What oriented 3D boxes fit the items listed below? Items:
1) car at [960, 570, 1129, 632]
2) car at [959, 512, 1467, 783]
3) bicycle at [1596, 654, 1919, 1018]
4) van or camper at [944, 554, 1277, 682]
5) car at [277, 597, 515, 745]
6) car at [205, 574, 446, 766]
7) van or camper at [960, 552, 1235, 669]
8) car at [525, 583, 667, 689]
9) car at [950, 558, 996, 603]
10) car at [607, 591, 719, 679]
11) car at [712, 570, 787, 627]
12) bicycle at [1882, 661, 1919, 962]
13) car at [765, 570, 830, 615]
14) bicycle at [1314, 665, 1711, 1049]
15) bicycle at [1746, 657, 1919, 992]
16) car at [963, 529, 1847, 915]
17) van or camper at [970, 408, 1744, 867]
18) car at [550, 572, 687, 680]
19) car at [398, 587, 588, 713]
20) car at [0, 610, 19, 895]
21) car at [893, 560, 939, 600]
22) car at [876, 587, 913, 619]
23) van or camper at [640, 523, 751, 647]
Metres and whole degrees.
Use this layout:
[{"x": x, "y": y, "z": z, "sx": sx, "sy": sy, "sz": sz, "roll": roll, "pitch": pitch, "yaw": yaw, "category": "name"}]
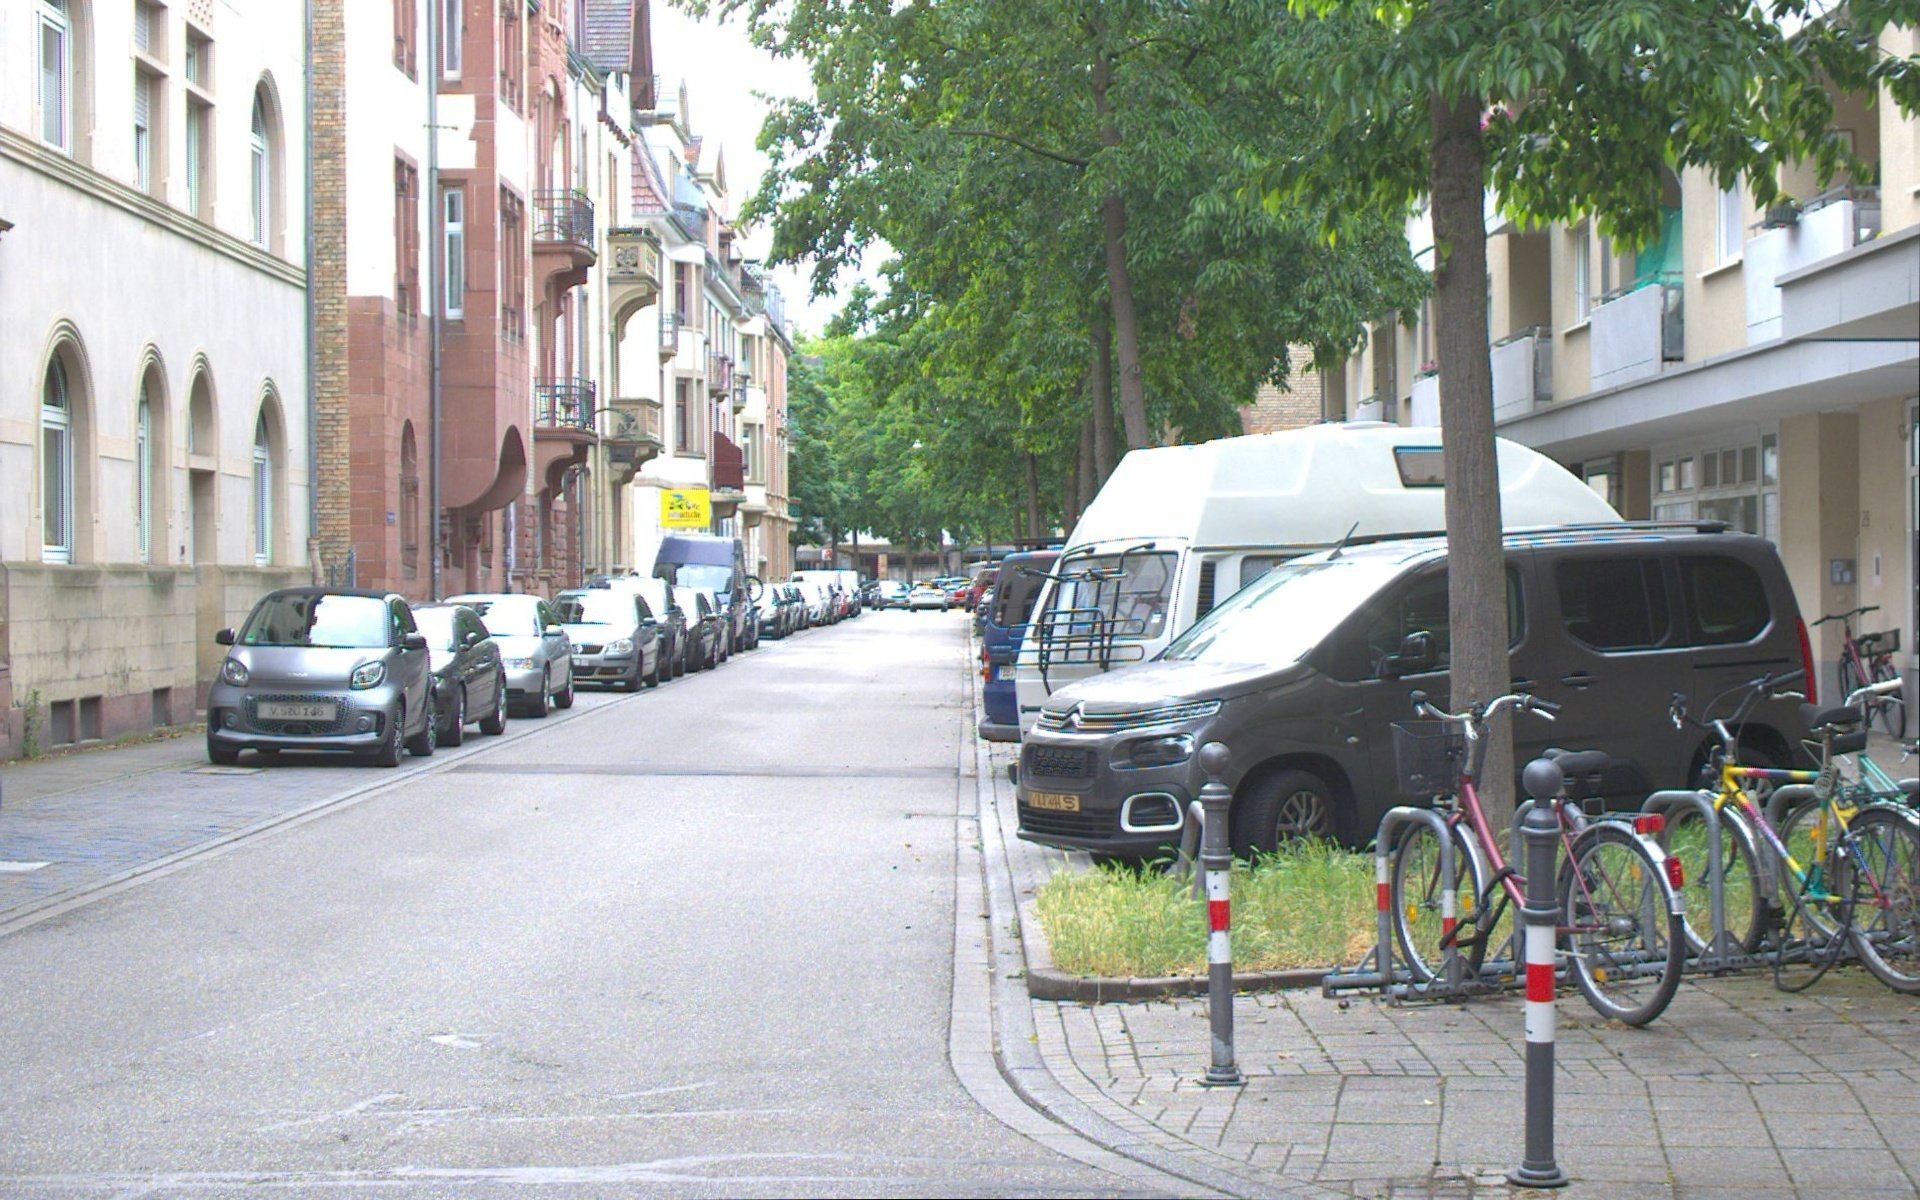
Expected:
[{"x": 2.210, "y": 0.007, "z": 89.566, "sx": 4.010, "sy": 1.554, "sz": 1.885, "roll": -1, "pitch": 1, "yaw": -30, "category": "car"}, {"x": 2.271, "y": 0.352, "z": 29.998, "sx": 2.066, "sy": 2.189, "sz": 4.387, "roll": 0, "pitch": 1, "yaw": 44, "category": "car"}, {"x": 3.011, "y": 0.809, "z": 12.469, "sx": 0.548, "sy": 1.169, "sz": 1.729, "roll": -1, "pitch": 1, "yaw": -21, "category": "bicycle"}, {"x": 2.484, "y": 0.286, "z": 56.419, "sx": 5.005, "sy": 1.863, "sz": 2.127, "roll": -2, "pitch": 0, "yaw": -27, "category": "van or camper"}, {"x": -5.651, "y": 0.696, "z": 34.860, "sx": 1.726, "sy": 1.382, "sz": 3.929, "roll": 1, "pitch": 0, "yaw": 0, "category": "car"}, {"x": -5.677, "y": 0.590, "z": 31.028, "sx": 1.646, "sy": 1.565, "sz": 2.957, "roll": 1, "pitch": 2, "yaw": -1, "category": "car"}, {"x": 2.606, "y": 0.193, "z": 65.200, "sx": 4.729, "sy": 1.987, "sz": 2.000, "roll": -2, "pitch": -1, "yaw": -25, "category": "van or camper"}, {"x": -5.308, "y": 0.499, "z": 50.510, "sx": 1.662, "sy": 1.416, "sz": 3.929, "roll": 1, "pitch": 1, "yaw": 0, "category": "car"}, {"x": 0.596, "y": -0.907, "z": 160.039, "sx": 1.993, "sy": 2.007, "sz": 4.000, "roll": 2, "pitch": 1, "yaw": 0, "category": "car"}, {"x": -5.300, "y": 0.597, "z": 61.747, "sx": 1.634, "sy": 1.468, "sz": 4.000, "roll": 1, "pitch": 1, "yaw": 0, "category": "car"}, {"x": -5.672, "y": -0.059, "z": 92.979, "sx": 1.789, "sy": 1.475, "sz": 4.022, "roll": 1, "pitch": 0, "yaw": 0, "category": "car"}, {"x": 4.232, "y": 0.836, "z": 12.970, "sx": 0.548, "sy": 1.169, "sz": 1.698, "roll": -1, "pitch": 1, "yaw": -21, "category": "bicycle"}, {"x": -5.477, "y": -0.276, "z": 116.395, "sx": 1.993, "sy": 1.470, "sz": 4.000, "roll": -1, "pitch": 1, "yaw": 0, "category": "car"}, {"x": 1.873, "y": 0.841, "z": 11.906, "sx": 0.548, "sy": 1.169, "sz": 1.729, "roll": -1, "pitch": 1, "yaw": -21, "category": "bicycle"}, {"x": 3.633, "y": 0.822, "z": 12.671, "sx": 0.548, "sy": 1.169, "sz": 1.729, "roll": -1, "pitch": 1, "yaw": -21, "category": "bicycle"}, {"x": 2.389, "y": 0.569, "z": 18.423, "sx": 4.331, "sy": 1.848, "sz": 1.911, "roll": -1, "pitch": 1, "yaw": -25, "category": "car"}, {"x": 2.519, "y": 0.177, "z": 21.411, "sx": 4.582, "sy": 2.587, "sz": 1.911, "roll": -1, "pitch": 1, "yaw": -32, "category": "van or camper"}, {"x": -5.564, "y": 0.390, "z": 56.433, "sx": 1.786, "sy": 1.641, "sz": 4.362, "roll": 1, "pitch": 1, "yaw": 0, "category": "car"}, {"x": -5.622, "y": 0.568, "z": 41.796, "sx": 1.726, "sy": 1.382, "sz": 4.137, "roll": 1, "pitch": 1, "yaw": 0, "category": "car"}, {"x": -5.902, "y": 0.768, "z": 16.227, "sx": 1.709, "sy": 1.489, "sz": 4.000, "roll": 1, "pitch": 0, "yaw": 2, "category": "car"}, {"x": -2.045, "y": -0.924, "z": 161.324, "sx": 1.993, "sy": 1.788, "sz": 4.000, "roll": 1, "pitch": 0, "yaw": 1, "category": "car"}, {"x": -3.445, "y": 0.178, "z": 181.140, "sx": 1.821, "sy": 1.639, "sz": 3.753, "roll": 1, "pitch": 0, "yaw": 0, "category": "car"}, {"x": -5.874, "y": -0.385, "z": 76.882, "sx": 2.008, "sy": 2.642, "sz": 5.316, "roll": -1, "pitch": 1, "yaw": 0, "category": "van or camper"}]
